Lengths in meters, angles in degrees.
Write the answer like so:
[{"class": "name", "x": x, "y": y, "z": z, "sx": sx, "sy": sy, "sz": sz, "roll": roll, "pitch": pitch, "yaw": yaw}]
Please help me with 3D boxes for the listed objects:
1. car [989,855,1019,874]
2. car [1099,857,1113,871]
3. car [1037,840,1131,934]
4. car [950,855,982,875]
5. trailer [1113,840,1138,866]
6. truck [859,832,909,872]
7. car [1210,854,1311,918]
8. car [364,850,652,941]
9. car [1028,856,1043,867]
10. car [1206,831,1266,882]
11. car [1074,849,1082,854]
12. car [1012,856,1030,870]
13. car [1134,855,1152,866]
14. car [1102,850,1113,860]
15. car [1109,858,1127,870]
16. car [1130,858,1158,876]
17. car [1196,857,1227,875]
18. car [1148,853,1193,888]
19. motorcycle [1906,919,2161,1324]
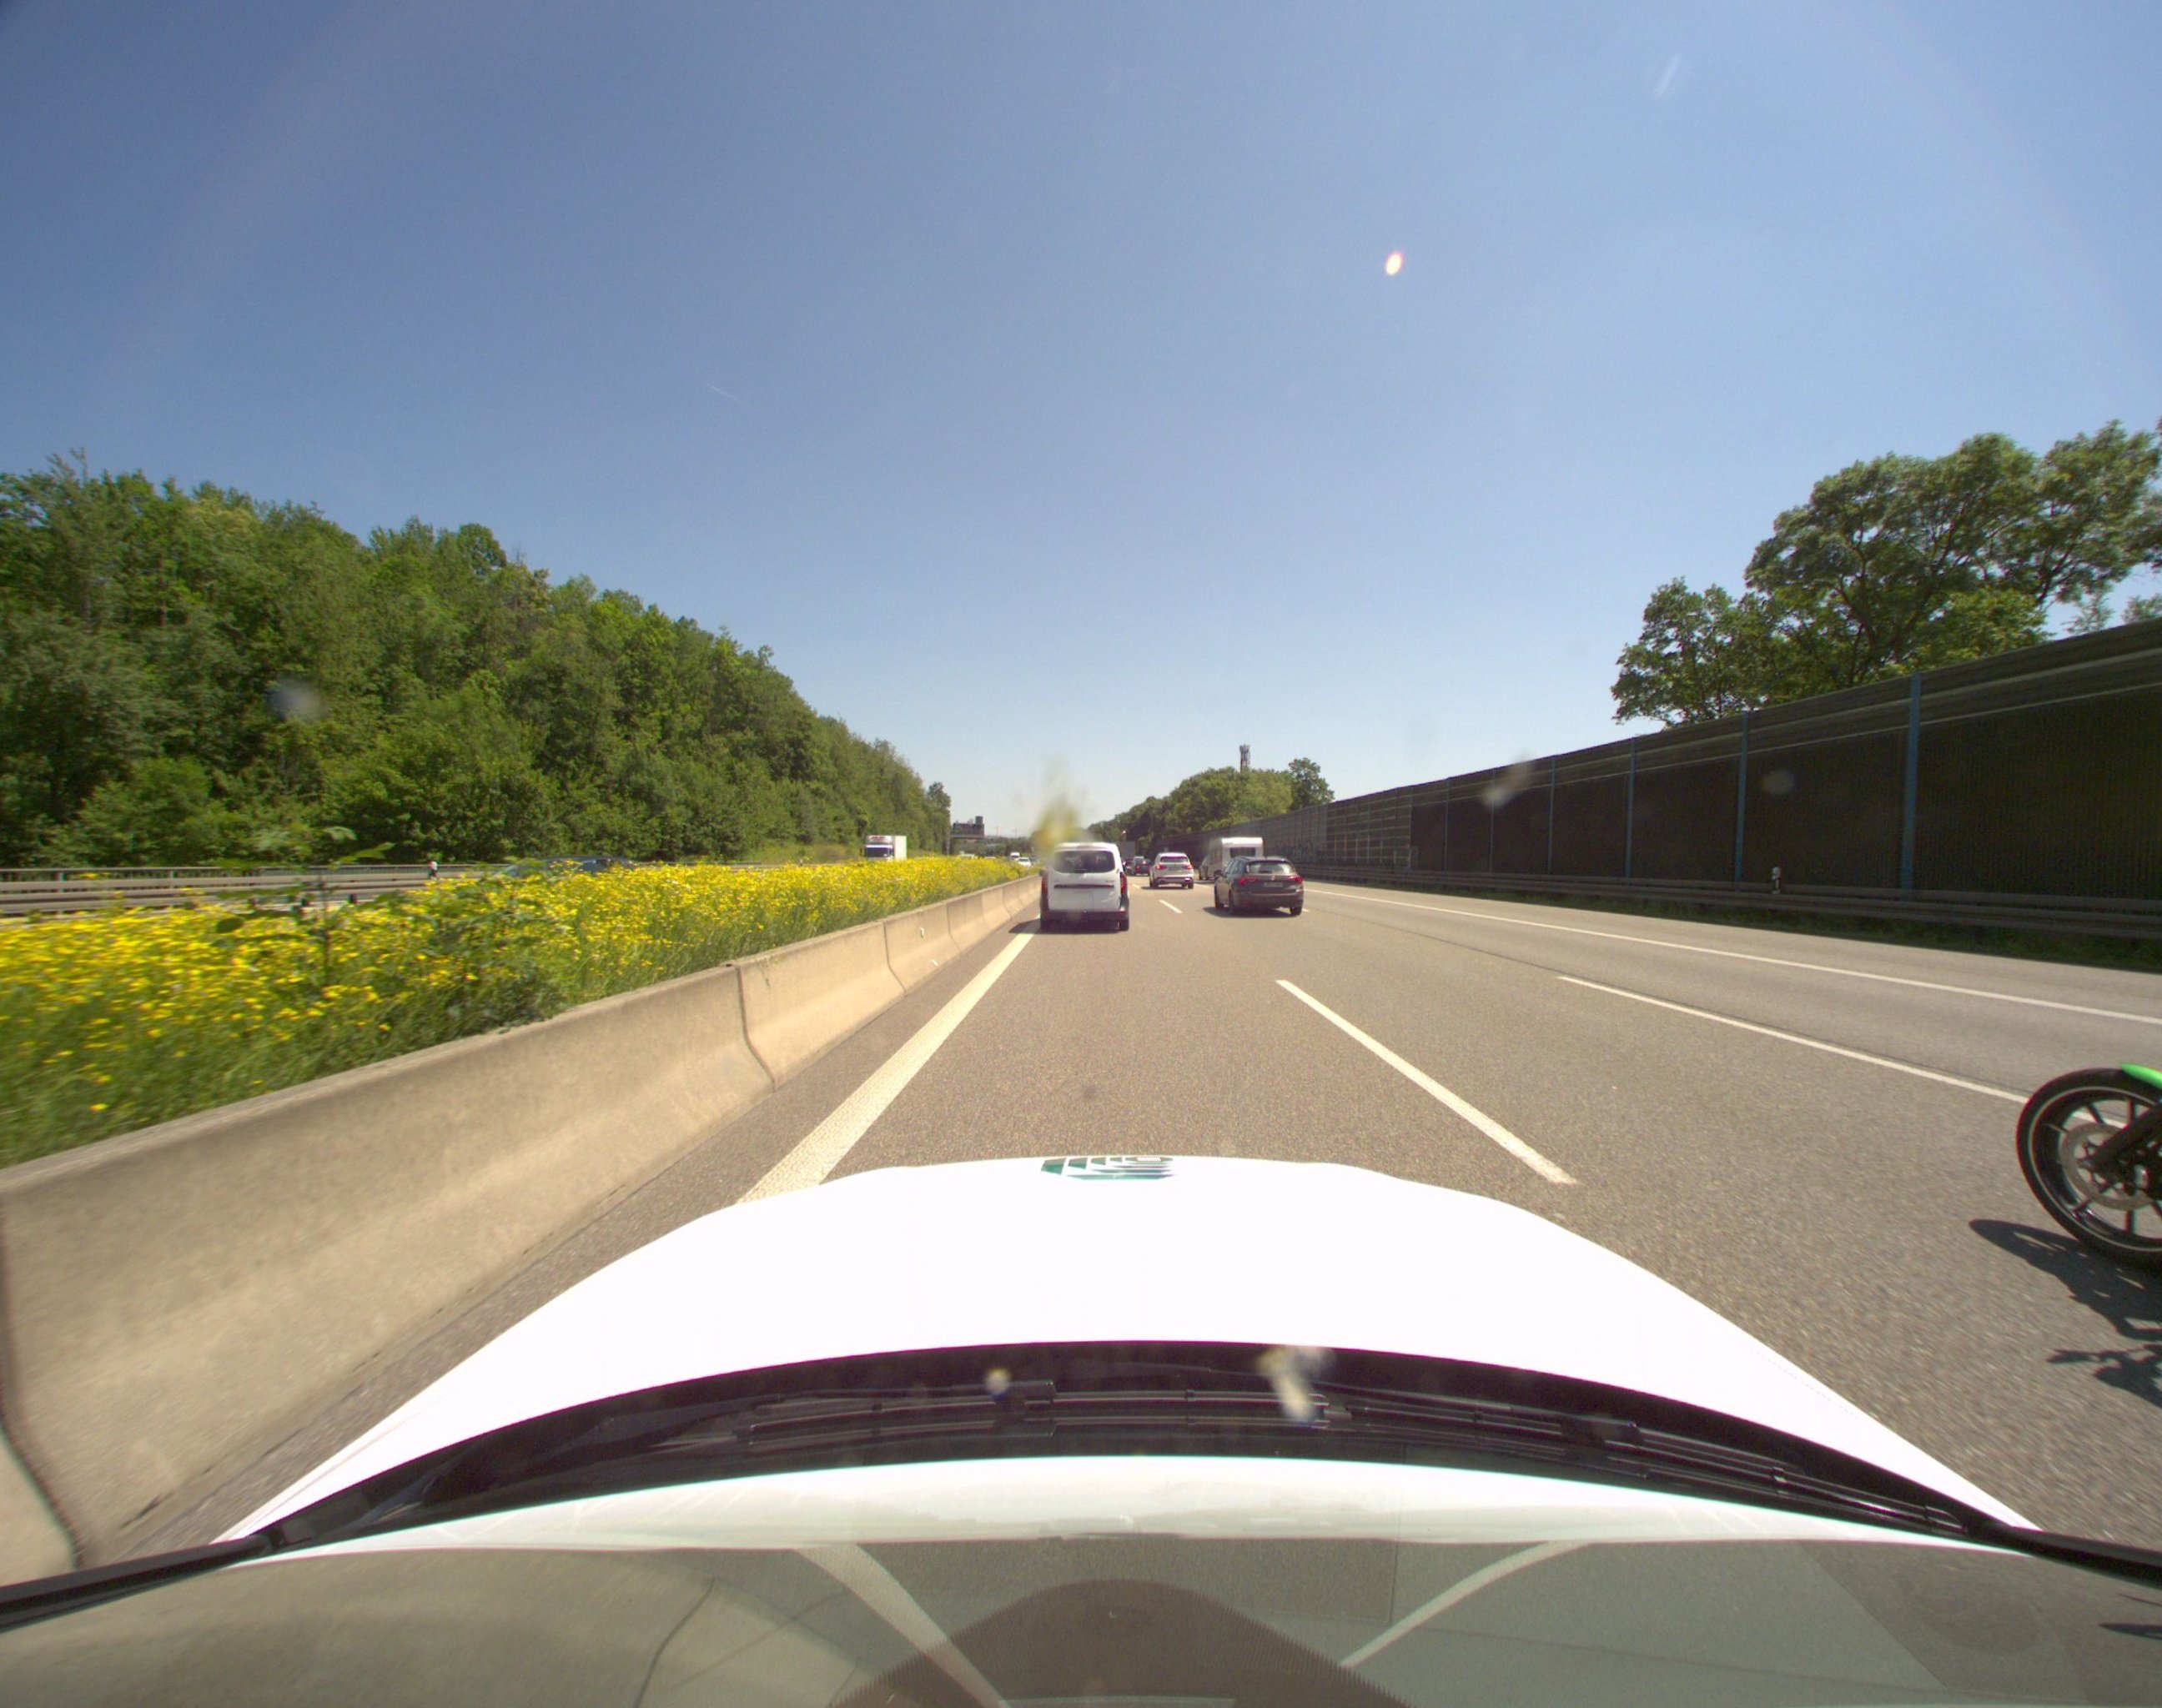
[{"class": "car", "x": -6.110, "y": 0.823, "z": 64.935, "sx": 1.799, "sy": 1.419, "sz": 4.079, "roll": 0, "pitch": 0, "yaw": 2}, {"class": "car", "x": 3.785, "y": 1.512, "z": 123.702, "sx": 1.820, "sy": 1.989, "sz": 3.996, "roll": 0, "pitch": -1, "yaw": -3}, {"class": "car", "x": 0.123, "y": 0.644, "z": 17.768, "sx": 1.795, "sy": 1.808, "sz": 4.001, "roll": -1, "pitch": 0, "yaw": 2}, {"class": "car", "x": -10.075, "y": 0.928, "z": 71.539, "sx": 1.986, "sy": 1.701, "sz": 4.532, "roll": 0, "pitch": 0, "yaw": 2}, {"class": "trailer", "x": 7.249, "y": -0.121, "z": 134.657, "sx": 3.075, "sy": 3.985, "sz": 10.312, "roll": 0, "pitch": 0, "yaw": -3}, {"class": "truck", "x": -17.574, "y": -0.163, "z": 73.109, "sx": 2.726, "sy": 3.475, "sz": 7.314, "roll": 0, "pitch": 0, "yaw": 0}, {"class": "car", "x": 4.632, "y": 0.758, "z": 21.626, "sx": 1.831, "sy": 1.513, "sz": 4.403, "roll": 0, "pitch": 0, "yaw": 2}, {"class": "car", "x": -10.851, "y": 0.696, "z": 16.017, "sx": 2.129, "sy": 1.530, "sz": 4.801, "roll": 0, "pitch": 0, "yaw": 2}, {"class": "car", "x": -6.213, "y": 1.013, "z": 110.794, "sx": 1.726, "sy": 1.405, "sz": 4.610, "roll": -1, "pitch": 0, "yaw": 0}, {"class": "car", "x": 9.016, "y": 0.153, "z": 48.032, "sx": 2.470, "sy": 2.766, "sz": 6.220, "roll": 0, "pitch": 0, "yaw": 1}, {"class": "car", "x": -0.923, "y": -0.758, "z": 251.270, "sx": 1.990, "sy": 1.728, "sz": 3.994, "roll": -1, "pitch": 0, "yaw": -4}, {"class": "car", "x": -6.669, "y": 0.995, "z": 90.840, "sx": 1.626, "sy": 1.428, "sz": 4.038, "roll": -1, "pitch": 0, "yaw": 2}, {"class": "car", "x": 8.249, "y": 0.903, "z": 108.620, "sx": 1.820, "sy": 1.424, "sz": 3.996, "roll": 0, "pitch": 0, "yaw": -3}, {"class": "car", "x": 5.478, "y": 0.170, "z": 170.312, "sx": 1.989, "sy": 2.014, "sz": 3.996, "roll": -1, "pitch": 0, "yaw": -3}, {"class": "car", "x": 4.433, "y": 1.189, "z": 97.333, "sx": 1.820, "sy": 1.424, "sz": 3.996, "roll": 0, "pitch": 0, "yaw": -3}, {"class": "car", "x": 5.048, "y": 1.059, "z": 65.957, "sx": 1.820, "sy": 1.424, "sz": 3.996, "roll": 0, "pitch": 0, "yaw": -3}, {"class": "car", "x": 10.620, "y": 0.979, "z": 66.443, "sx": 1.818, "sy": 1.424, "sz": 3.998, "roll": 0, "pitch": 0, "yaw": -1}, {"class": "car", "x": 4.227, "y": 0.734, "z": 38.980, "sx": 1.864, "sy": 1.608, "sz": 3.880, "roll": 0, "pitch": 0, "yaw": 2}, {"class": "motorcycle", "x": 3.756, "y": 0.861, "z": 2.175, "sx": 0.856, "sy": 1.182, "sz": 2.277, "roll": 0, "pitch": 0, "yaw": 2}]
